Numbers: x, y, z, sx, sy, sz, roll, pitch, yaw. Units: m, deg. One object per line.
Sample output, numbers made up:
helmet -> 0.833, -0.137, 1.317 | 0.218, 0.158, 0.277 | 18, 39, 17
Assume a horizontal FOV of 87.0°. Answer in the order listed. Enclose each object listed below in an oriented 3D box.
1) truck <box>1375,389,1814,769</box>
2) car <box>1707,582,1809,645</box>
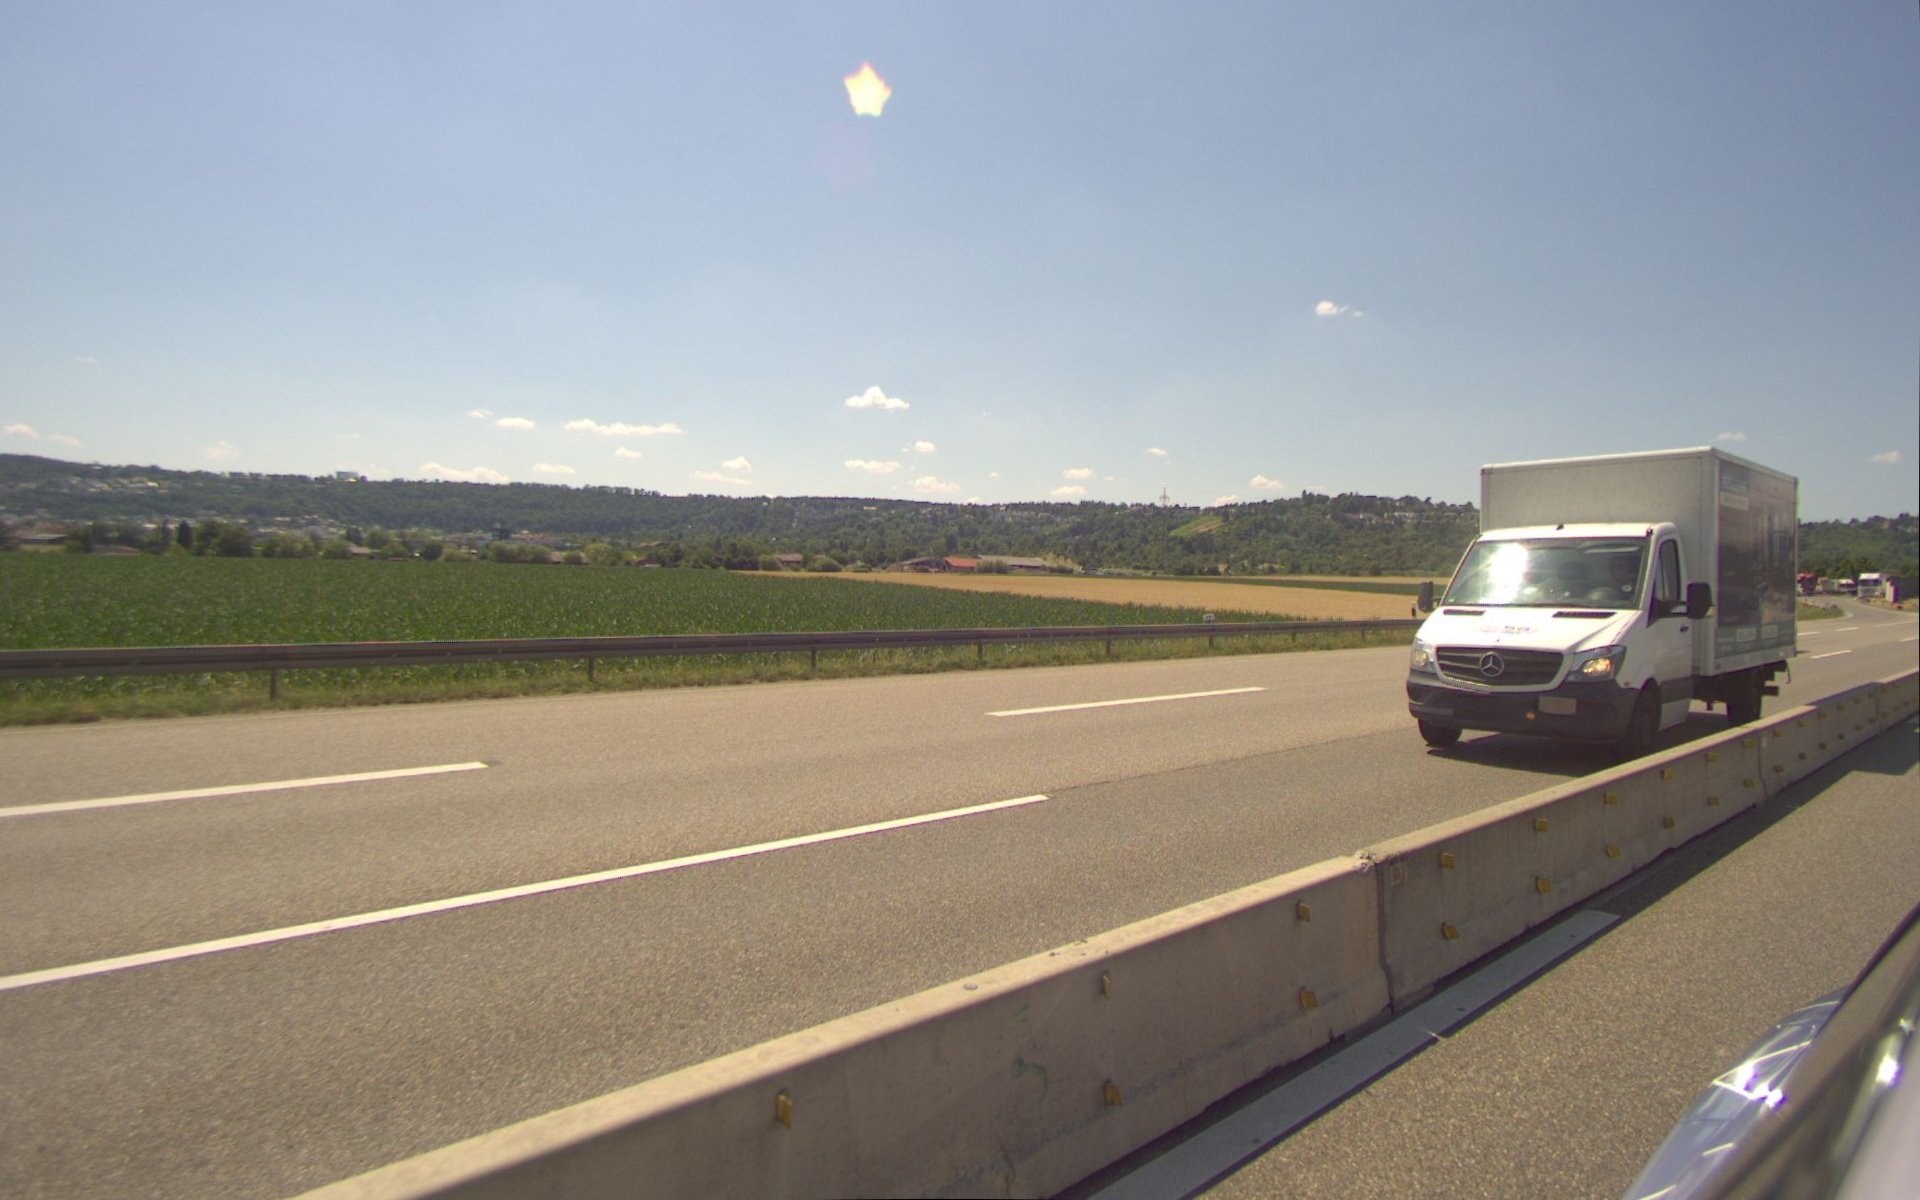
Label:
truck -> 7.387, -0.163, 11.337 | 6.632, 3.106, 2.325 | 1, 0, -41
car -> 23.601, 0.384, 29.899 | 3.902, 1.759, 1.630 | 1, 0, -40
